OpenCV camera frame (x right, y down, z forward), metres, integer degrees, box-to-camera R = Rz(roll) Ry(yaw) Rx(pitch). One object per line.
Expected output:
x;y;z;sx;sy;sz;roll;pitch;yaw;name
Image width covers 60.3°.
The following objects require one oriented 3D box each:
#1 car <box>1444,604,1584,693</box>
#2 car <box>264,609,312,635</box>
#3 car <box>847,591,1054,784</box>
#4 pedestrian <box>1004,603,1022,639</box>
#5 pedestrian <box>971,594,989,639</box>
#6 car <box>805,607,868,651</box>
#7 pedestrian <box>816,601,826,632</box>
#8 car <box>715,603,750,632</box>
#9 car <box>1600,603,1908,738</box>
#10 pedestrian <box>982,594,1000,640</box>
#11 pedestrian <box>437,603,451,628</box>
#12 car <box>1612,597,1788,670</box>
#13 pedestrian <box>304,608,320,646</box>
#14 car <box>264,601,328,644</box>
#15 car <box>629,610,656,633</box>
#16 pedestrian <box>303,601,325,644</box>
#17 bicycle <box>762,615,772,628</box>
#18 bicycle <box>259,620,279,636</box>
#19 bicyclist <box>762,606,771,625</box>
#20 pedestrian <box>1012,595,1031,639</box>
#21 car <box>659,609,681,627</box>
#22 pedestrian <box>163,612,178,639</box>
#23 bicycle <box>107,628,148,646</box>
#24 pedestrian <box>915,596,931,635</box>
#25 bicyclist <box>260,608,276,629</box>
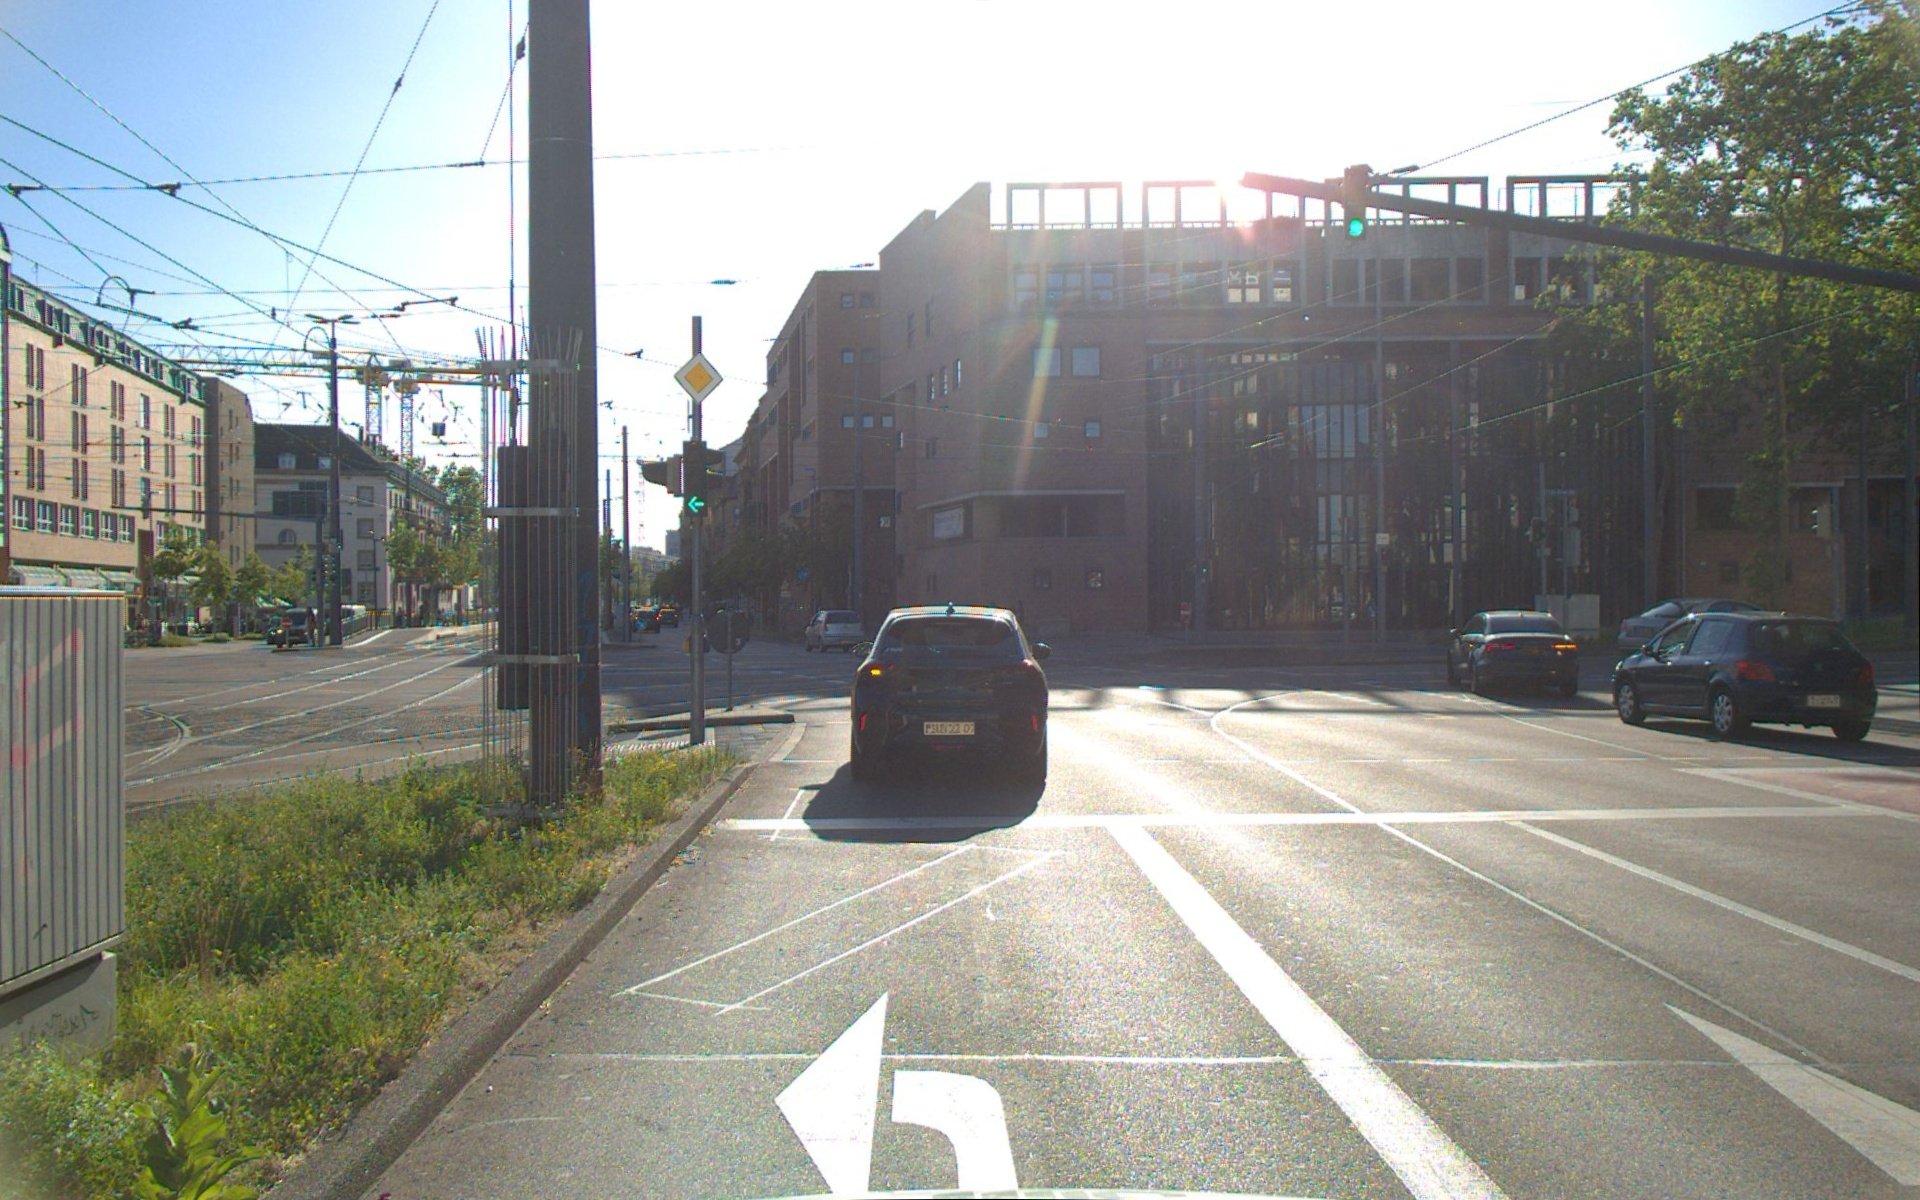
9.783;0.819;29.462;1.659;1.465;4.022;0;-1;8;car
-37.372;1.216;92.071;1.808;1.290;4.215;-3;0;-13;car
-0.101;0.699;15.114;1.638;1.528;3.690;1;0;-1;car
2.240;0.882;70.278;0.541;1.503;0.568;-1;0;-29;pedestrian
0.809;0.690;67.838;0.563;1.817;0.546;-1;0;-20;pedestrian
-4.443;1.015;59.084;1.535;1.481;3.415;-1;0;-17;car
-8.307;0.992;98.942;0.537;1.817;0.572;-1;2;-9;pedestrian
-12.164;0.909;88.369;1.641;1.479;3.687;-1;0;-11;car
9.844;0.804;20.874;1.824;1.500;3.975;-1;0;-3;car
1.260;0.694;67.276;0.563;1.817;0.546;-1;0;-20;pedestrian
-35.521;1.059;113.905;0.849;1.699;0.779;0;1;-22;pedestrian
16.439;0.703;36.714;3.930;1.500;1.682;-1;0;-32;car
-27.627;1.135;70.510;0.573;1.604;0.641;-1;0;-25;pedestrian
-31.089;1.019;77.562;1.805;1.868;4.099;-2;0;-9;car
-21.049;1.414;109.673;1.690;1.479;3.687;-1;0;-11;car
-26.812;0.922;68.621;0.708;1.757;0.593;-1;0;-11;pedestrian
-14.497;1.623;124.140;0.636;0.920;2.340;0;0;-10;bicycle
-46.828;1.893;112.039;0.796;1.008;2.500;-1;0;-13;bicycle
-14.500;1.164;124.119;0.634;1.363;0.651;-1;0;-10;bicyclist
2.567;0.726;69.142;0.563;1.817;0.546;-1;0;-20;pedestrian
-24.325;1.515;138.788;1.690;1.479;3.687;-1;0;-11;car
-53.414;1.742;111.915;0.703;1.795;0.564;-2;0;-9;pedestrian
-46.588;2.056;92.551;1.992;0.937;0.483;-1;0;-2;bicycle
-1.776;0.747;78.477;0.628;1.817;0.687;-1;0;-9;pedestrian
-46.825;1.256;111.959;0.796;1.401;0.922;-1;0;-13;bicyclist
